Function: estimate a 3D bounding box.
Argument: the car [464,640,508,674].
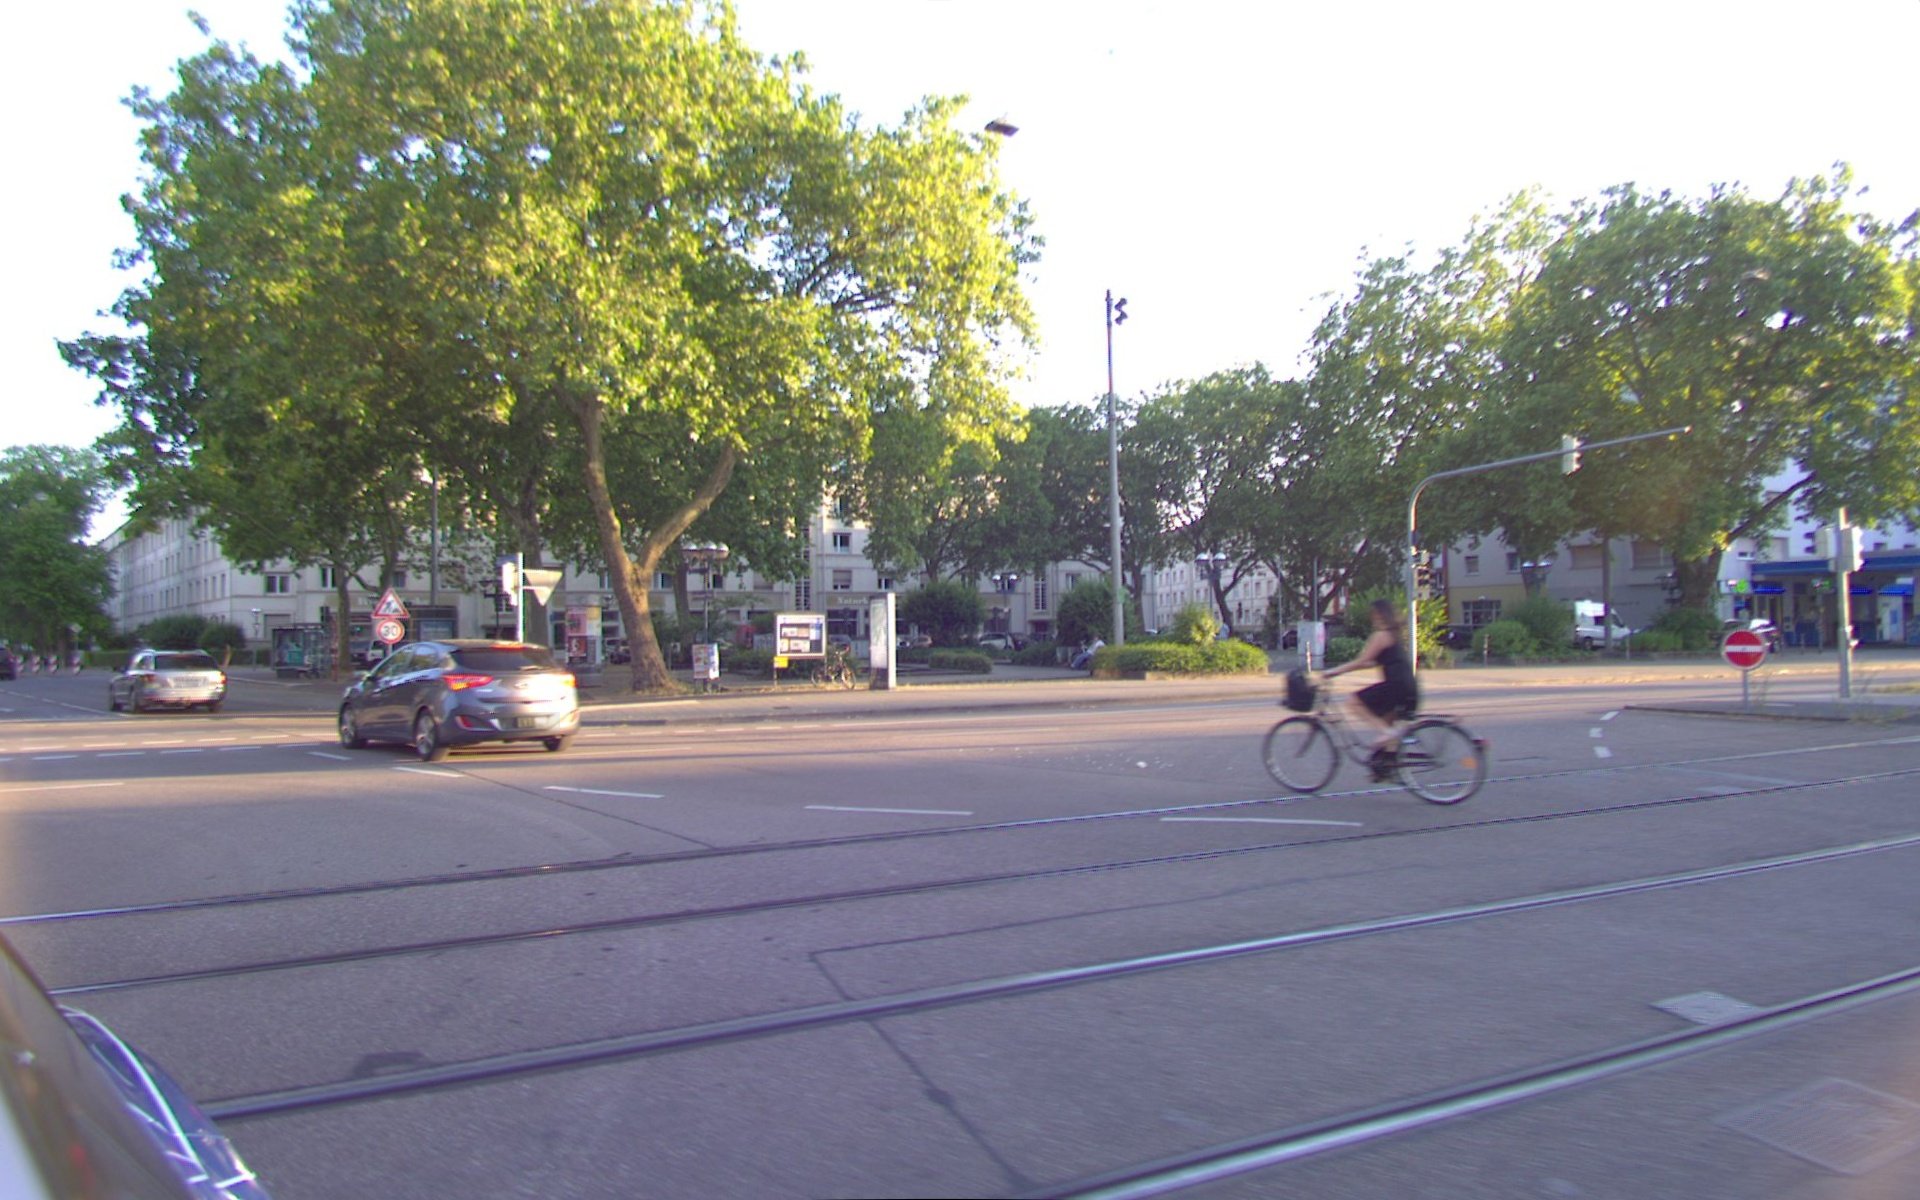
[{"bbox_3d":[-26.343,3.190,56.178,1.965,1.795,4.655,1,-4,-27],"label":"car"}]

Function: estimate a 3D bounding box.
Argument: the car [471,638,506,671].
[{"bbox_3d":[-30.647,3.481,65.741,1.965,1.970,4.656,1,-1,-25],"label":"car"}]

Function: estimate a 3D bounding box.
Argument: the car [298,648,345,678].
[{"bbox_3d":[-33.523,3.323,53.097,1.966,1.515,4.652,2,-5,-33],"label":"car"}]

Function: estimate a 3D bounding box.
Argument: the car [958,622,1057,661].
[{"bbox_3d":[2.319,2.055,49.296,4.423,1.795,2.006,1,-5,-27],"label":"car"}]

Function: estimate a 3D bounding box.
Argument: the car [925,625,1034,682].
[{"bbox_3d":[0.552,1.865,34.312,1.965,1.795,4.655,1,-4,-23],"label":"car"}]

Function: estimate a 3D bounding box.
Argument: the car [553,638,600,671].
[{"bbox_3d":[-22.120,3.167,58.254,1.965,1.795,4.655,1,-4,-27],"label":"car"}]

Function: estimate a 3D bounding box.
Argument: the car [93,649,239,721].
[{"bbox_3d":[-19.407,2.001,24.662,4.767,1.570,1.972,-3,-4,42],"label":"car"}]

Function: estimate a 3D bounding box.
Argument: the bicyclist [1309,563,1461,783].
[{"bbox_3d":[3.430,0.564,8.190,0.963,1.657,0.593,-2,-2,41],"label":"bicyclist"}]

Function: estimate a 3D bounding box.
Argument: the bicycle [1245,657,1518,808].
[{"bbox_3d":[3.378,1.016,8.249,1.945,1.051,0.593,-2,-1,41],"label":"bicycle"}]

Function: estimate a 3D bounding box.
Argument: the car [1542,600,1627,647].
[{"bbox_3d":[33.462,1.252,54.229,3.931,2.361,2.006,-1,-1,-26],"label":"car"}]

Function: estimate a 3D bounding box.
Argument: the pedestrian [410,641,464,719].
[{"bbox_3d":[-11.507,1.734,22.278,0.772,1.640,0.794,-2,-1,37],"label":"pedestrian"}]

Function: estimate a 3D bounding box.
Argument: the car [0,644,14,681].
[{"bbox_3d":[-49.976,3.275,51.654,4.795,1.798,1.973,-4,-1,41],"label":"car"}]

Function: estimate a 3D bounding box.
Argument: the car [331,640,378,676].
[{"bbox_3d":[-37.229,3.532,62.351,1.965,1.970,4.656,1,-1,-25],"label":"car"}]

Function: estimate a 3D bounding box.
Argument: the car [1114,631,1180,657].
[{"bbox_3d":[13.745,3.242,74.602,1.968,1.748,4.648,2,-5,-39],"label":"car"}]

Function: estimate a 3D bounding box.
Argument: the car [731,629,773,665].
[{"bbox_3d":[-15.239,3.371,73.999,1.965,2.460,4.656,1,-1,-25],"label":"car"}]

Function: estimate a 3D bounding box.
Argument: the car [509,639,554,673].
[{"bbox_3d":[-24.266,3.181,57.216,1.965,1.795,4.655,1,-4,-27],"label":"car"}]

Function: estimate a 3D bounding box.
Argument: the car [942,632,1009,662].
[{"bbox_3d":[0.950,2.862,62.365,3.696,1.674,1.679,-1,-1,-22],"label":"car"}]

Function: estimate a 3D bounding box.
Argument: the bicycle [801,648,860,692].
[{"bbox_3d":[-3.451,1.841,26.821,1.798,1.101,0.453,-2,-1,40],"label":"bicycle"}]

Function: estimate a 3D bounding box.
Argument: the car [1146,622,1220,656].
[{"bbox_3d":[13.884,2.464,63.415,1.965,1.953,4.655,1,-4,-27],"label":"car"}]

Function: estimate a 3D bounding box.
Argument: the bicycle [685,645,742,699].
[{"bbox_3d":[-6.474,1.869,26.503,0.519,1.336,1.996,0,-1,-43],"label":"bicycle"}]

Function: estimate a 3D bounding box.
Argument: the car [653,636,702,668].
[{"bbox_3d":[-16.993,3.127,60.732,1.965,1.795,4.655,1,-4,-27],"label":"car"}]

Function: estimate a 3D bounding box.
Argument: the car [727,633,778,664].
[{"bbox_3d":[-12.938,3.038,62.881,1.965,1.795,4.655,1,-4,-27],"label":"car"}]

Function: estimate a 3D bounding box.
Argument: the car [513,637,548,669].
[{"bbox_3d":[-28.334,3.445,66.690,1.965,1.970,4.656,1,-1,-25],"label":"car"}]

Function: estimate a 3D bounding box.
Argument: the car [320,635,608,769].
[{"bbox_3d":[-6.623,1.239,13.353,4.137,1.488,1.973,-3,-4,41],"label":"car"}]

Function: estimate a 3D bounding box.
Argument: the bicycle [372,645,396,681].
[{"bbox_3d":[-28.340,3.076,49.815,0.680,1.627,2.754,-1,-1,-23],"label":"bicycle"}]

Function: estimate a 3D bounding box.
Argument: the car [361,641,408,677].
[{"bbox_3d":[-30.592,3.162,53.907,1.965,1.795,4.655,1,-4,-27],"label":"car"}]

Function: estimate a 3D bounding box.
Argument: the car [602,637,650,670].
[{"bbox_3d":[-19.594,3.156,59.287,1.965,1.795,4.655,1,-4,-27],"label":"car"}]
